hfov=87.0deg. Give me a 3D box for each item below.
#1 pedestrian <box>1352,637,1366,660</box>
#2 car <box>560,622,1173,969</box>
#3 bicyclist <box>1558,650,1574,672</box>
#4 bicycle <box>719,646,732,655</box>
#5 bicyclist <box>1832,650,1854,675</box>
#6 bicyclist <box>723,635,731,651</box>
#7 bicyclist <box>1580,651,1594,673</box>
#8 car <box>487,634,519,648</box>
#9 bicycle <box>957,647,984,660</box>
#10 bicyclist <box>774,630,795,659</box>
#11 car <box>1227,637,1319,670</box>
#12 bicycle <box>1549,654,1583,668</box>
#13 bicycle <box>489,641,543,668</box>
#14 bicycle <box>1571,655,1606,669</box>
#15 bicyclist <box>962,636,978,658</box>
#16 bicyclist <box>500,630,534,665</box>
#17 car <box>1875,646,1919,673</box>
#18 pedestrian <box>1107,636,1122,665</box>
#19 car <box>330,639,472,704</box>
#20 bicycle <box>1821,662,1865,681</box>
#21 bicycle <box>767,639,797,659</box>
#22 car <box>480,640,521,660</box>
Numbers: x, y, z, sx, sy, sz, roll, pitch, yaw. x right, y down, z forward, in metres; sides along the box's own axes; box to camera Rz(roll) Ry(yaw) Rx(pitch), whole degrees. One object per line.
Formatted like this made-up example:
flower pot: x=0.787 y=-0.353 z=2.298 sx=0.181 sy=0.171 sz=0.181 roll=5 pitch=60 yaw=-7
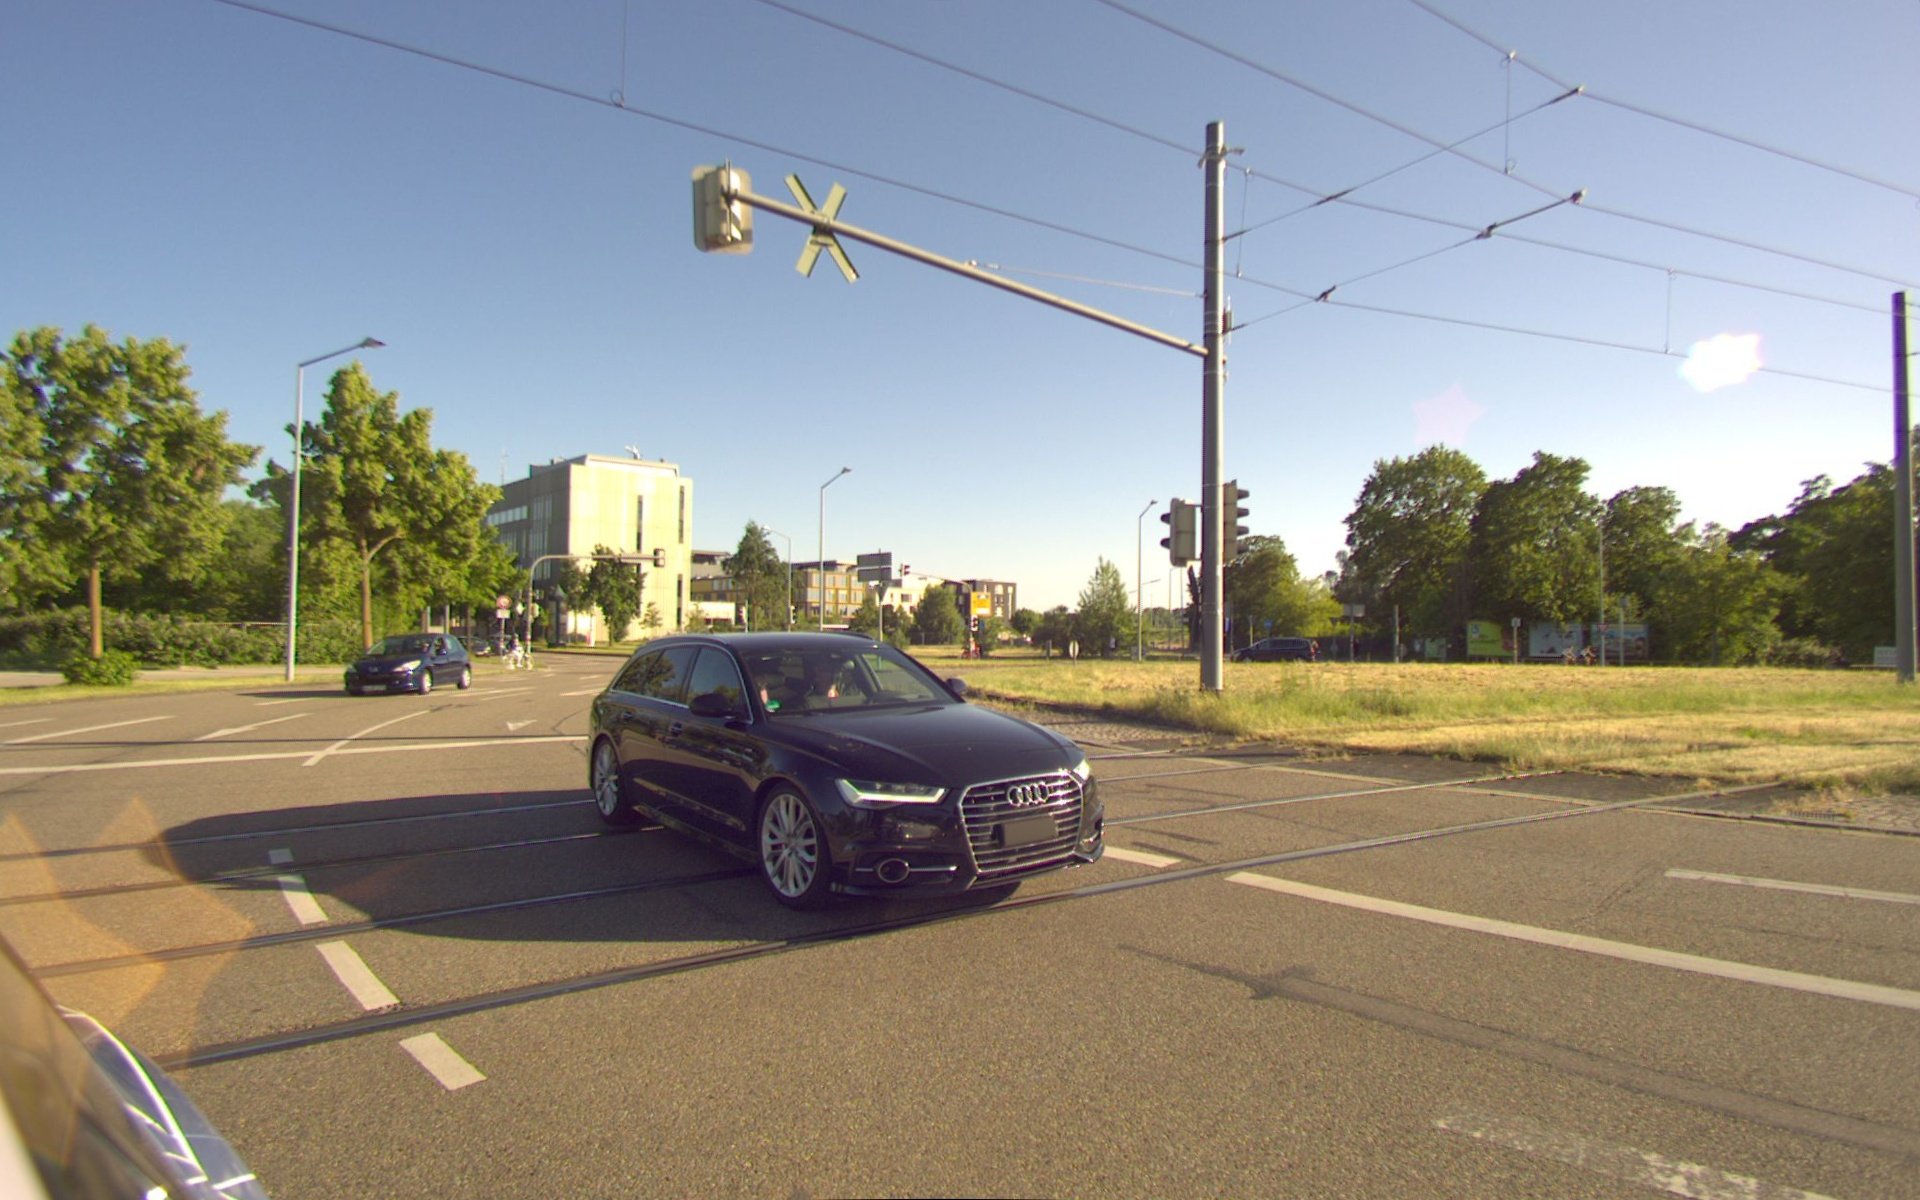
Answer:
pedestrian: x=36.091 y=4.384 z=91.513 sx=0.889 sy=2.029 sz=0.818 roll=1 pitch=-2 yaw=1
car: x=-1.081 y=0.922 z=6.834 sx=1.769 sy=1.454 sz=5.028 roll=2 pitch=-3 yaw=-36
bicyclist: x=39.791 y=4.015 z=66.431 sx=0.834 sy=1.403 sz=0.611 roll=-1 pitch=-3 yaw=30
bicycle: x=-22.972 y=4.978 z=99.240 sx=0.483 sy=0.859 sz=1.893 roll=2 pitch=-3 yaw=-38
bicyclist: x=52.348 y=3.709 z=59.998 sx=0.749 sy=1.479 sz=0.584 roll=1 pitch=-2 yaw=15
bicyclist: x=-22.868 y=4.231 z=99.143 sx=0.426 sy=1.576 sz=0.853 roll=2 pitch=-3 yaw=-38
bicyclist: x=40.432 y=4.002 z=65.233 sx=0.716 sy=1.403 sz=0.611 roll=-1 pitch=-3 yaw=30
car: x=-51.200 y=4.619 z=113.275 sx=1.979 sy=1.553 sz=4.329 roll=2 pitch=-3 yaw=-43
bicycle: x=0.718 y=3.707 z=69.851 sx=1.858 sy=0.859 sz=0.619 roll=2 pitch=-3 yaw=-36
bicyclist: x=-10.345 y=2.620 z=59.703 sx=0.703 sy=1.676 sz=0.930 roll=0 pitch=-1 yaw=38
car: x=18.109 y=3.073 z=58.822 sx=4.967 sy=1.798 sz=2.451 roll=0 pitch=-2 yaw=15
bicycle: x=39.767 y=4.017 z=66.430 sx=1.881 sy=0.859 sz=0.611 roll=-1 pitch=-3 yaw=30
bicycle: x=-20.526 y=2.523 z=46.832 sx=0.871 sy=1.164 sz=2.198 roll=1 pitch=-2 yaw=24
bicycle: x=40.475 y=4.005 z=65.210 sx=1.881 sy=0.859 sz=0.611 roll=-1 pitch=-3 yaw=30
bicyclist: x=0.682 y=3.238 z=69.836 sx=0.910 sy=1.529 sz=0.619 roll=2 pitch=-3 yaw=-36
bicyclist: x=-20.512 y=2.191 z=46.868 sx=0.871 sy=1.574 sz=1.078 roll=1 pitch=-3 yaw=25
car: x=65.803 y=4.078 z=69.772 sx=1.809 sy=1.819 sz=3.750 roll=2 pitch=-3 yaw=-39
pedestrian: x=10.903 y=3.542 z=71.526 sx=0.929 sy=2.021 sz=0.590 roll=1 pitch=-2 yaw=-8
car: x=-13.730 y=1.724 z=25.135 sx=1.730 sy=1.465 sz=4.006 roll=-1 pitch=-3 yaw=-7
bicycle: x=52.333 y=4.247 z=59.994 sx=1.853 sy=1.019 sz=0.584 roll=1 pitch=-2 yaw=16
bicycle: x=-10.462 y=2.887 z=59.535 sx=0.703 sy=1.137 sz=1.634 roll=0 pitch=-1 yaw=38
car: x=-33.904 y=3.684 z=74.627 sx=1.905 sy=1.390 sz=4.547 roll=2 pitch=-2 yaw=-35
